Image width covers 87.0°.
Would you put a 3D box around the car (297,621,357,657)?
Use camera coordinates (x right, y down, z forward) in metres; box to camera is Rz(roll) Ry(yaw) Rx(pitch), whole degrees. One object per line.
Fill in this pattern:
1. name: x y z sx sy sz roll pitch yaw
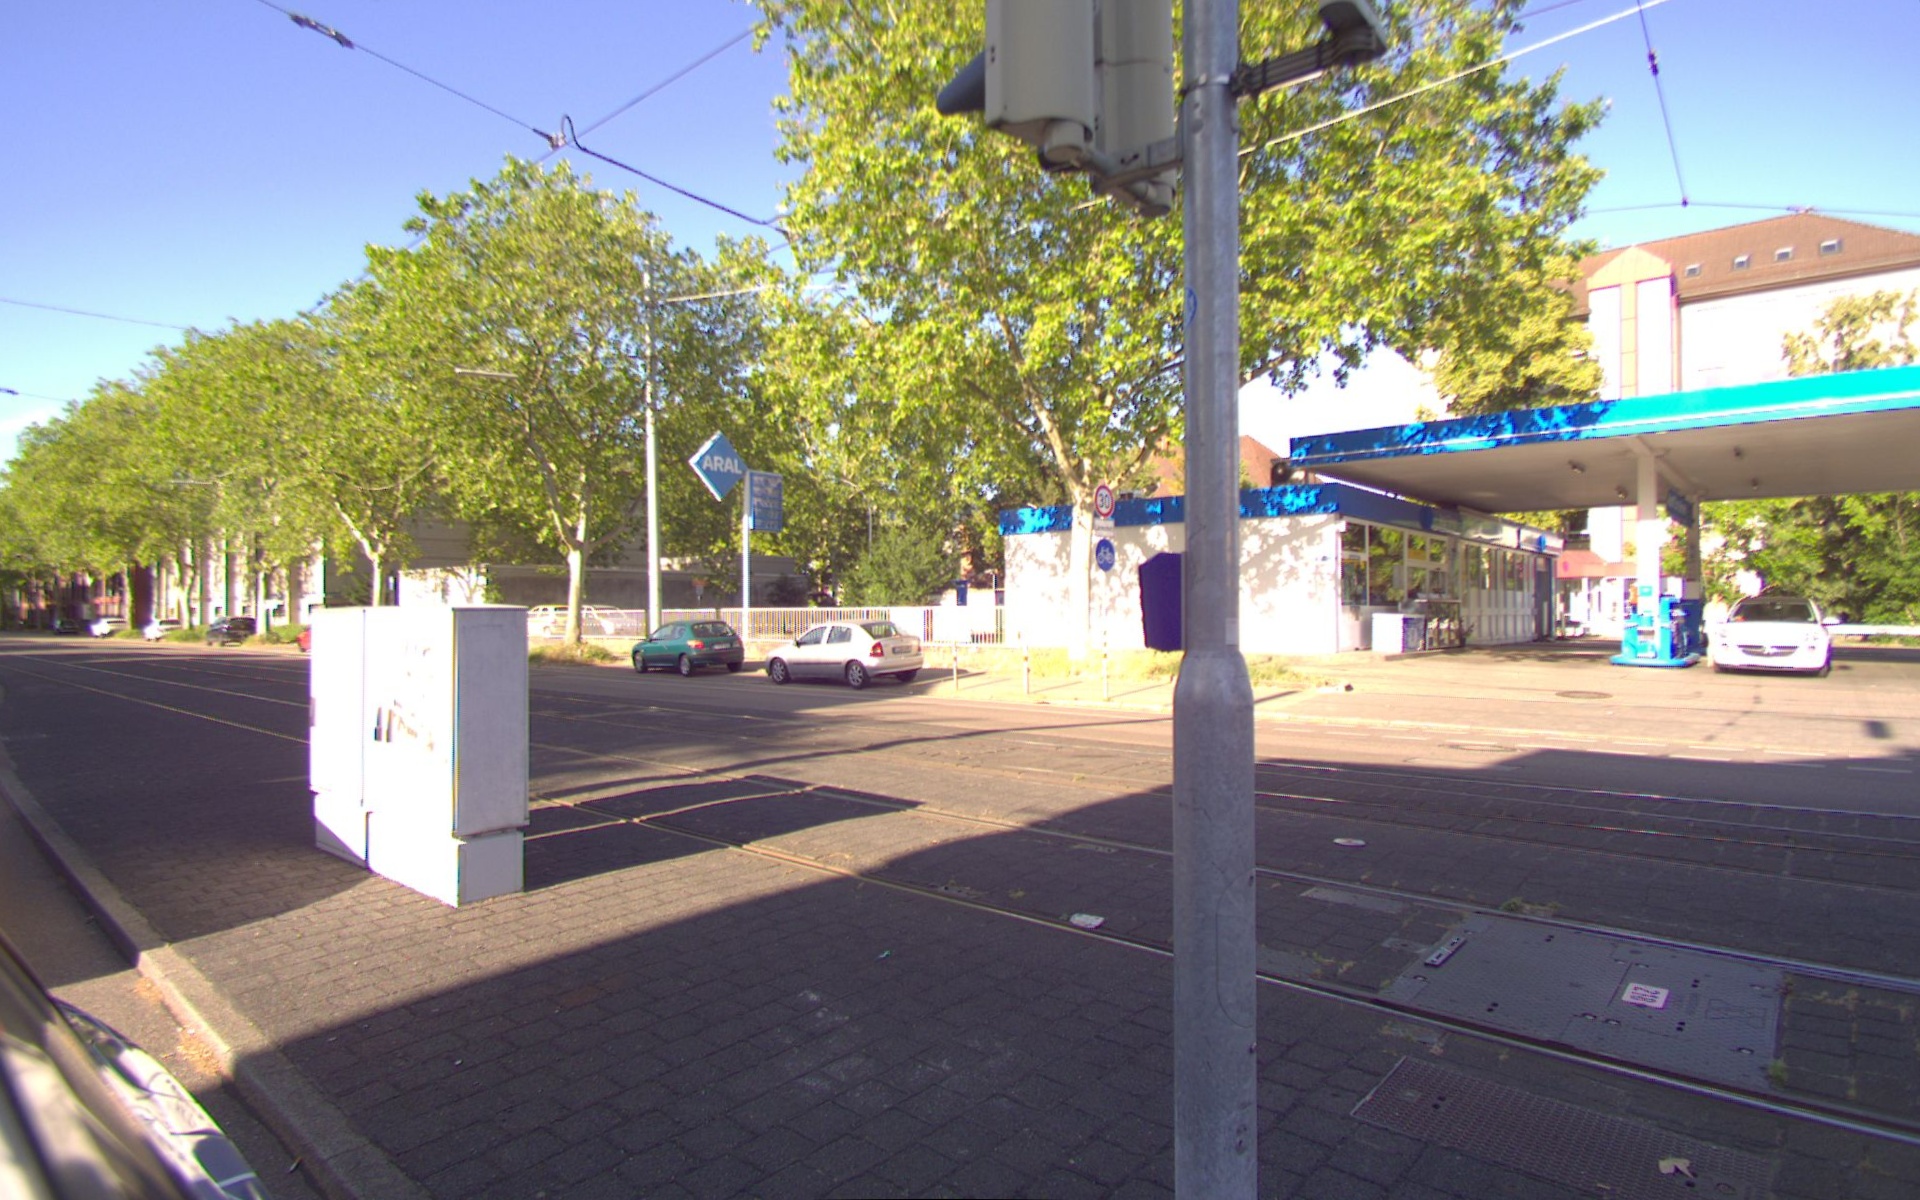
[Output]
1. car: -28.681 1.753 45.831 2.621 1.519 1.579 -1 1 41

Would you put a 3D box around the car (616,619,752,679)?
1. car: -7.396 1.264 26.971 3.748 1.413 1.674 -1 1 41

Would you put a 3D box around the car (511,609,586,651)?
1. car: -17.079 1.228 41.971 3.303 1.628 1.579 -1 0 41

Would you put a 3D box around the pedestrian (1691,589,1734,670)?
1. pedestrian: 16.277 0.638 21.896 0.493 1.714 0.649 1 -2 -45

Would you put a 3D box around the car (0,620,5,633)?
1. car: -133.922 3.670 140.476 3.748 1.798 1.674 -1 1 41

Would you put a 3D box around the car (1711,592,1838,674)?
1. car: 15.890 0.609 19.695 1.757 1.453 3.521 -1 -1 41

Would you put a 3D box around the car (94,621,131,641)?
1. car: -66.672 2.441 79.608 3.748 1.459 1.674 -1 1 41

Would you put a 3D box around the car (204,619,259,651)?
1. car: -40.670 1.936 56.454 3.748 1.670 1.674 -1 1 41

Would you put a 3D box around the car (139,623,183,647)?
1. car: -53.855 2.338 68.180 3.748 1.459 1.674 -1 1 41

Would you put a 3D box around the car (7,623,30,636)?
1. car: -112.131 3.556 120.508 3.748 1.459 1.674 -1 1 41

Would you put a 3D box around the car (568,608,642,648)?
1. car: -15.260 1.193 43.448 3.303 1.604 1.579 -1 0 41

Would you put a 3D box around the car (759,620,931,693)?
1. car: -2.632 1.203 22.643 3.812 1.413 1.674 -1 1 41

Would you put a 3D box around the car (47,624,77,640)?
1. car: -85.232 3.024 96.046 3.748 1.459 1.674 -1 1 41

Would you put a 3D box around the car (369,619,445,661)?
1. car: -21.871 1.555 40.003 3.303 1.519 1.579 -1 1 41
